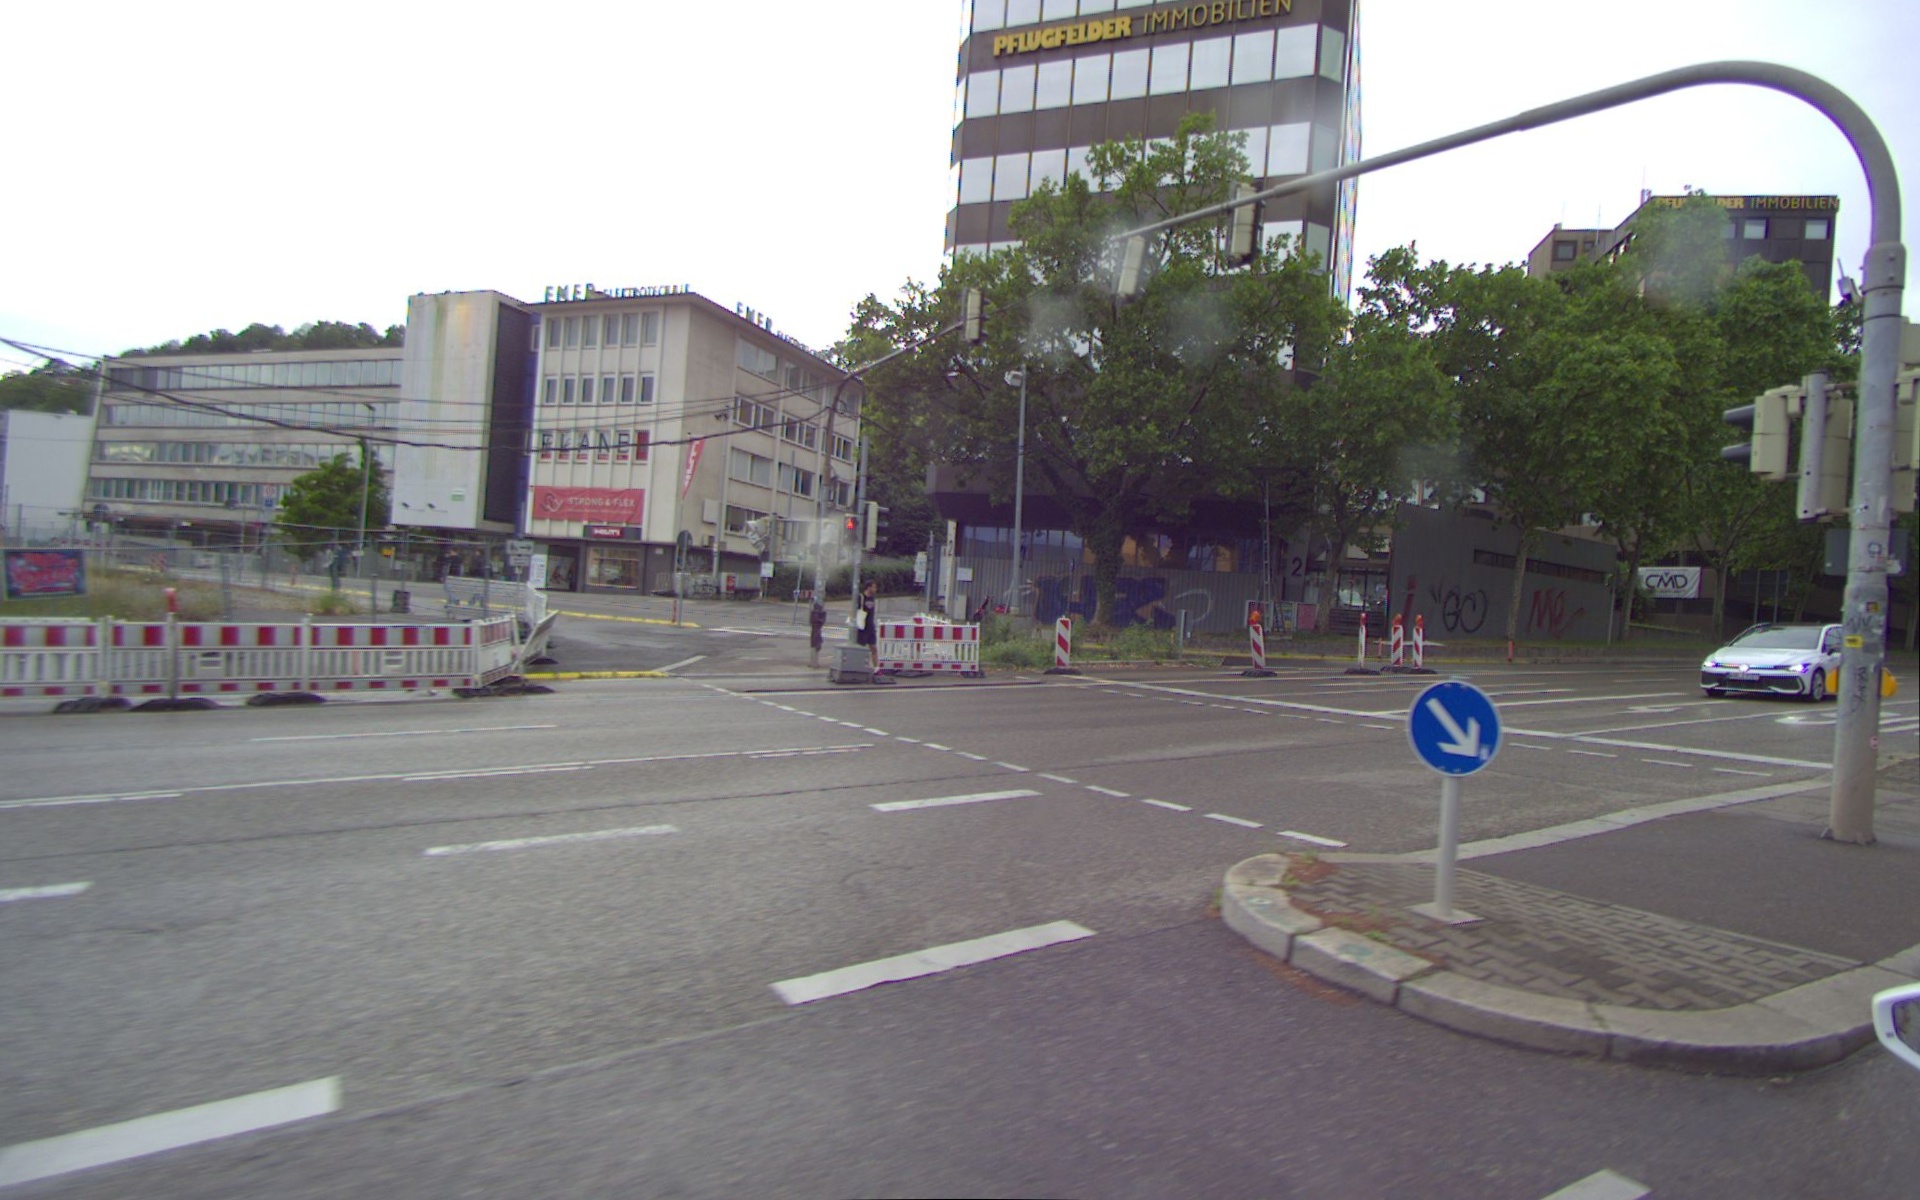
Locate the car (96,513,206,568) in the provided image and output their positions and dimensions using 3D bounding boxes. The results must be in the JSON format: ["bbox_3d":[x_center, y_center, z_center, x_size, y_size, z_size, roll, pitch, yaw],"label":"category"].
[{"bbox_3d":[-33.394,-2.455,41.453,3.923,1.991,1.813,3,-1,23],"label":"car"}]

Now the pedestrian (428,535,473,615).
[{"bbox_3d":[-14.543,-0.708,28.683,0.688,2.200,0.747,3,0,23],"label":"pedestrian"}]

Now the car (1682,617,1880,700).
[{"bbox_3d":[16.432,1.118,20.057,4.310,1.480,1.752,1,-1,-31],"label":"car"}]

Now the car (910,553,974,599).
[{"bbox_3d":[-1.066,-1.452,63.410,2.185,2.474,5.506,3,-1,18],"label":"car"}]

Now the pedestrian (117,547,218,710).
[{"bbox_3d":[-9.754,0.351,12.392,0.766,1.926,0.669,4,-1,-28],"label":"pedestrian"}]

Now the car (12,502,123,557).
[{"bbox_3d":[-38.628,-3.043,43.481,3.923,2.040,1.999,3,-1,23],"label":"car"}]

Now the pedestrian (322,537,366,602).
[{"bbox_3d":[-18.289,-0.903,29.833,0.769,1.877,0.768,2,1,23],"label":"pedestrian"}]

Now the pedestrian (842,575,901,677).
[{"bbox_3d":[-1.696,0.494,19.310,0.741,1.905,0.734,4,-1,-40],"label":"pedestrian"}]

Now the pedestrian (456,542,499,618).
[{"bbox_3d":[-14.124,-0.568,29.383,0.729,2.168,0.747,3,1,23],"label":"pedestrian"}]

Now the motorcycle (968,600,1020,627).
[{"bbox_3d":[1.427,0.563,42.438,2.142,1.051,0.565,2,1,25],"label":"motorcycle"}]

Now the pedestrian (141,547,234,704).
[{"bbox_3d":[-10.033,0.331,13.076,0.733,1.947,0.758,4,-1,-28],"label":"pedestrian"}]
